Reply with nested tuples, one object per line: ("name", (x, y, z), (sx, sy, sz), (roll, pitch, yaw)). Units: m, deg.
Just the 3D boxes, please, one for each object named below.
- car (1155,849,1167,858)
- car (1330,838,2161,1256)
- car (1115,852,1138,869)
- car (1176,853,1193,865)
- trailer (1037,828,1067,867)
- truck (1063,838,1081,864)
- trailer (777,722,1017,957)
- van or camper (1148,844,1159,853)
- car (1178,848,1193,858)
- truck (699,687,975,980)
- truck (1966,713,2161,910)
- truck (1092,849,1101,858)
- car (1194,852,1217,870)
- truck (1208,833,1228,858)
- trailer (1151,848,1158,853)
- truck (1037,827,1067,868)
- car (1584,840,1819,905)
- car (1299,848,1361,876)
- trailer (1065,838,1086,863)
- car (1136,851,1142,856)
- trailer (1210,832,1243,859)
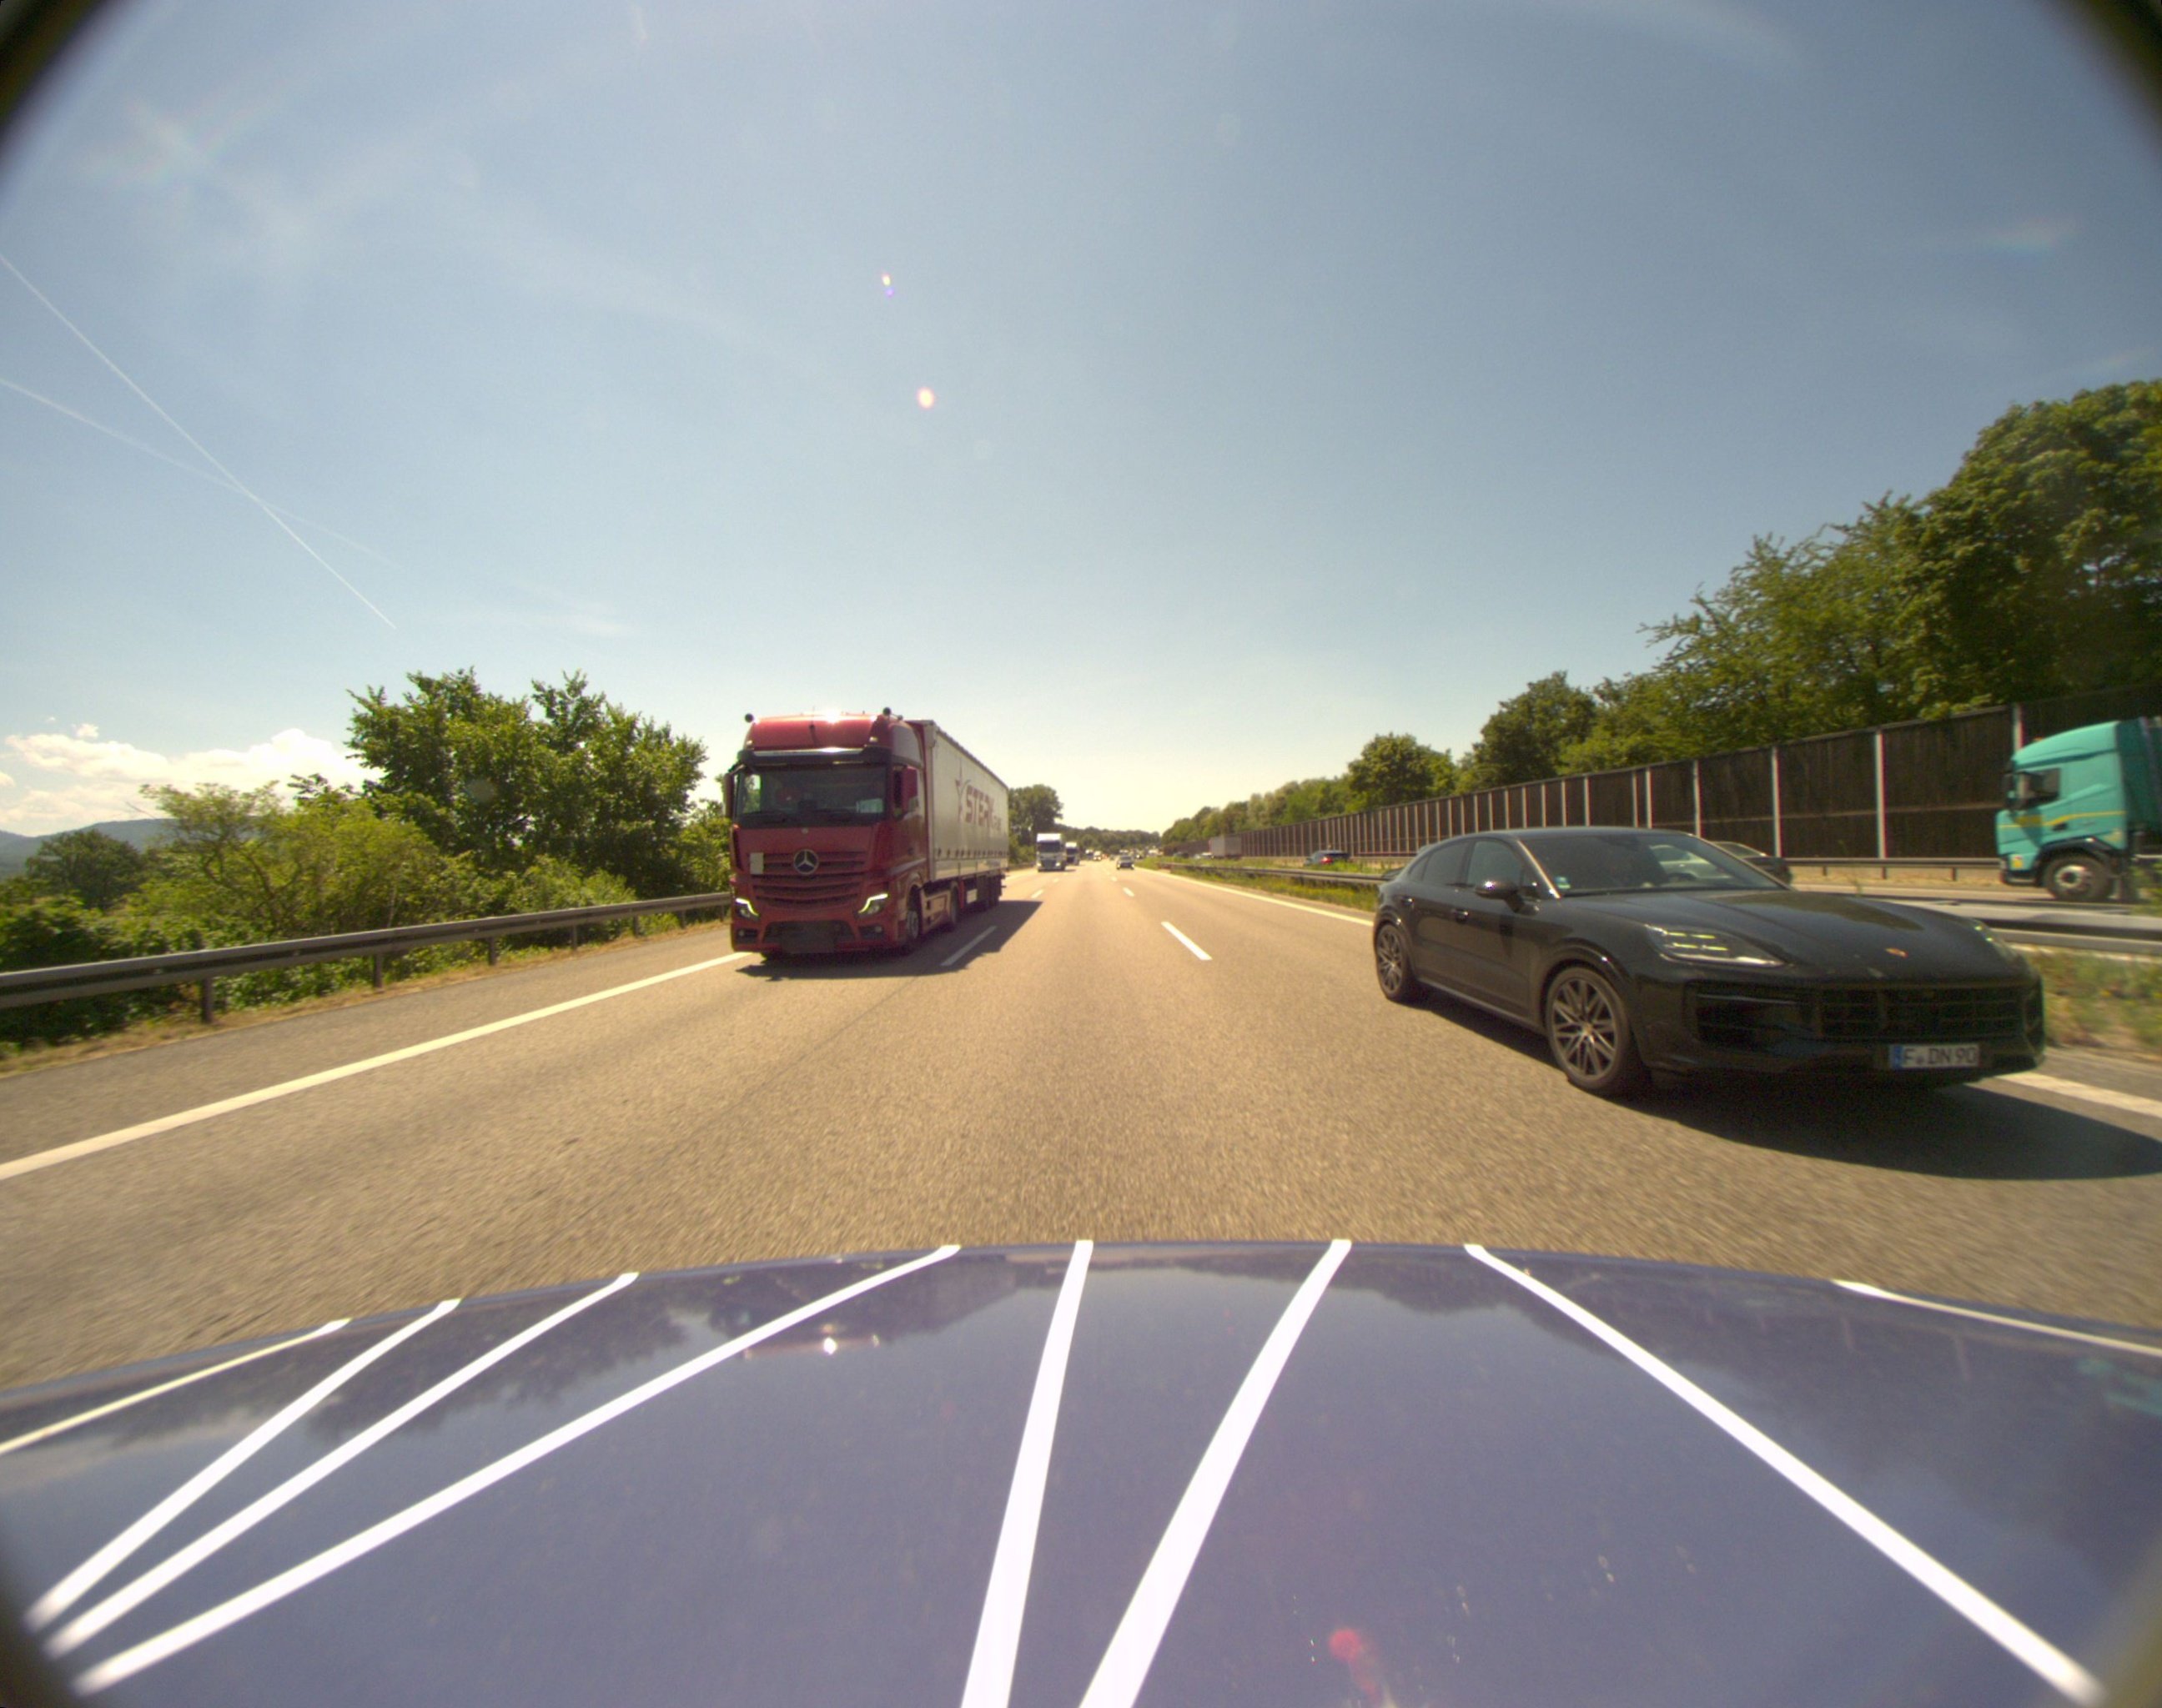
("car", (15.965, -0.196, 152.533), (1.998, 1.710, 4.245), (-2, 0, 1))
("car", (3.932, 0.771, 5.946), (2.049, 1.615, 5.771), (-2, 0, 0))
("car", (4.886, 0.707, 82.295), (1.910, 1.717, 4.374), (-2, 0, -3))
("car", (15.956, 0.699, 117.057), (1.998, 1.710, 4.532), (-2, 0, 1))
("trailer", (-3.393, -0.693, 86.458), (2.967, 4.082, 12.528), (-1, 0, -3))
("truck", (-1.556, -0.599, 133.958), (2.541, 4.446, 5.574), (-1, 0, 5))
("trailer", (-3.846, -0.289, 20.492), (2.714, 4.064, 14.150), (-2, 0, 1))
("van or camper", (24.285, -1.813, 254.379), (2.564, 2.897, 7.375), (7, 0, 0))
("car", (20.068, -0.170, 146.092), (1.998, 1.805, 5.219), (-2, 0, 1))
("truck", (-3.934, -0.298, 14.248), (2.714, 4.065, 6.964), (-2, 0, 1))
("truck", (21.645, -0.817, 11.052), (3.098, 3.654, 12.366), (-2, 0, 0))
("truck", (4.799, -0.074, 237.907), (2.715, 2.712, 12.368), (-2, 0, 2))
("car", (14.707, 0.799, 90.104), (1.998, 1.936, 4.000), (-5, 0, 1))
("truck", (22.886, -1.377, 127.177), (2.493, 4.064, 4.677), (-1, 1, 0))
("trailer", (24.179, -1.199, 249.313), (1.731, 1.569, 3.092), (7, 0, 0))
("truck", (-3.121, -0.692, 80.653), (2.967, 4.082, 6.204), (-1, 0, -3))
("car", (15.899, 0.412, 19.937), (1.870, 1.433, 5.084), (-2, 0, -2))
("car", (13.507, 0.401, 41.552), (1.962, 1.438, 4.458), (-2, 0, 1))
("trailer", (-0.931, -0.646, 141.142), (2.541, 4.446, 14.165), (-1, 0, 5))
("car", (18.116, -0.120, 236.187), (1.710, 1.347, 4.000), (-1, 0, 1))
("trailer", (22.816, -1.314, 119.862), (2.502, 4.063, 14.269), (-1, 0, 1))
